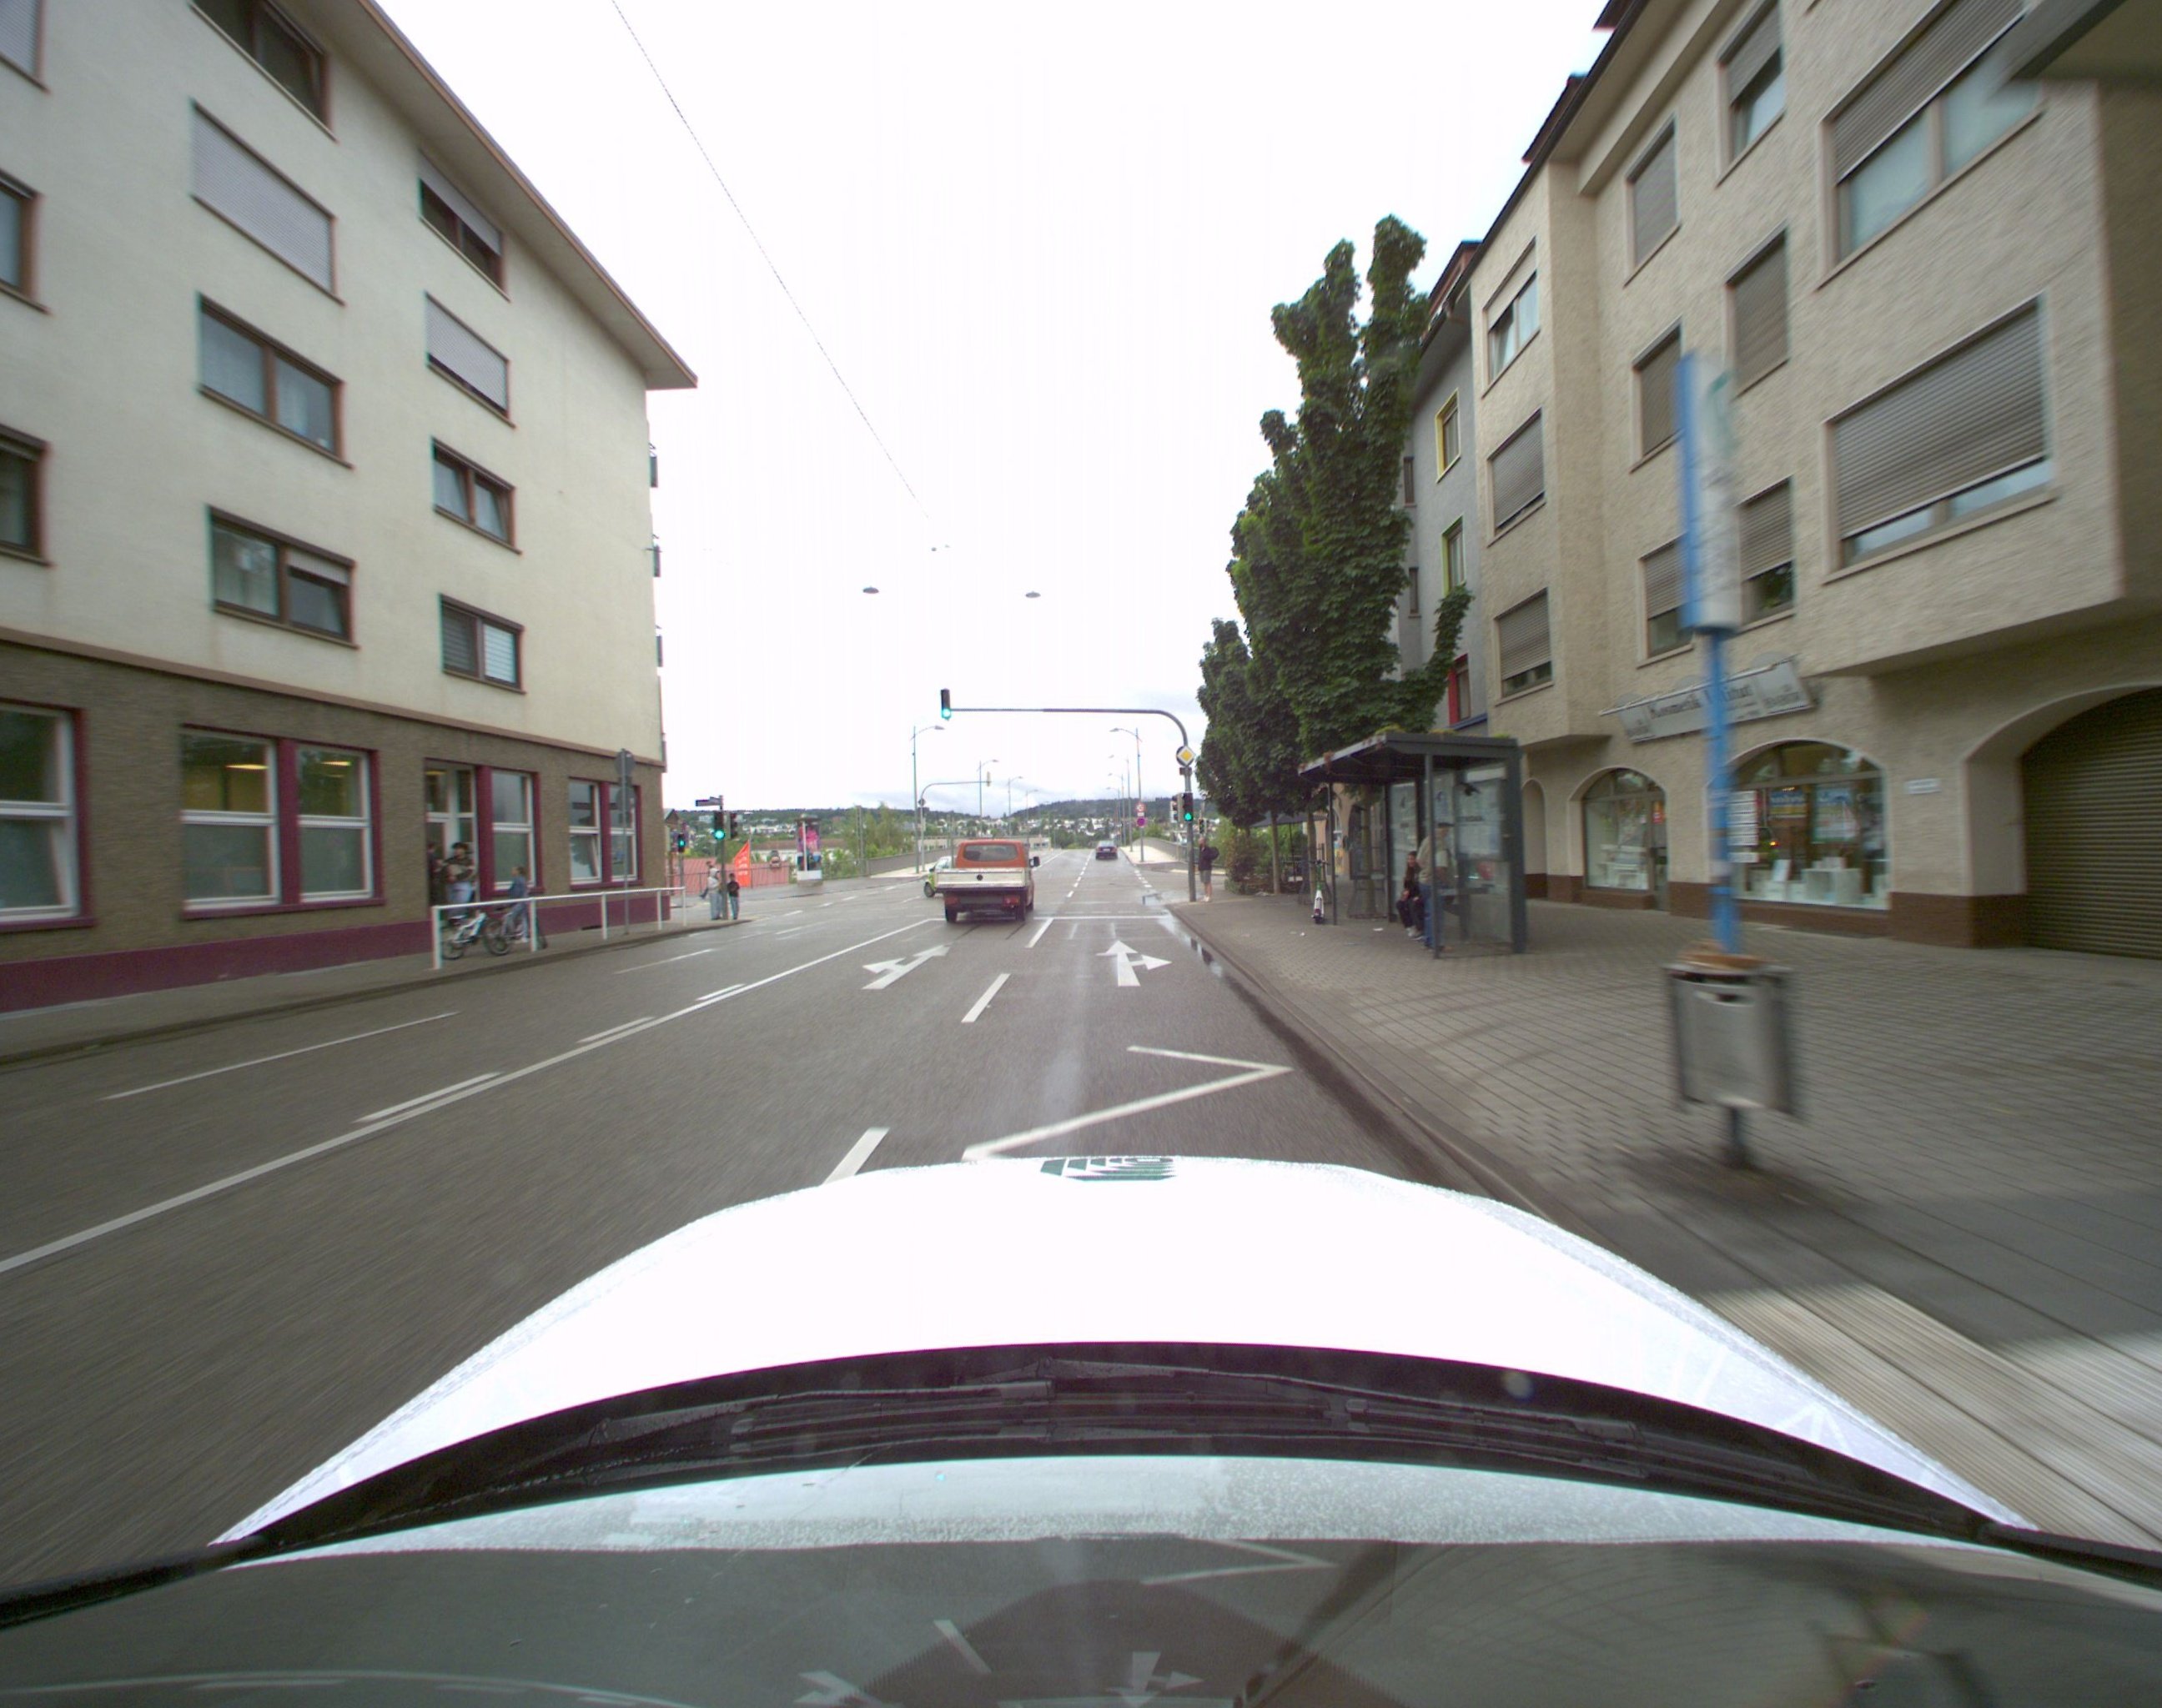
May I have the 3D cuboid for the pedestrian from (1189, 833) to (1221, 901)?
[{"bbox_3d":[3.480,0.358,22.919,0.730,1.841,0.631,-3,-1,0],"label":"pedestrian"}]

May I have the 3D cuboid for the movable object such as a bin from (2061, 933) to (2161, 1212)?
[{"bbox_3d":[4.023,0.763,2.725,0.598,0.926,0.705,-3,-1,1],"label":"movable object such as a bin"}]

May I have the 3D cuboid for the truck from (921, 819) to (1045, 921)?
[{"bbox_3d":[-2.260,0.357,20.518,2.392,2.129,5.313,-3,0,0],"label":"truck"}]

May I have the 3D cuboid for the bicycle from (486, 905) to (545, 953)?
[{"bbox_3d":[-10.531,1.382,15.187,0.263,0.783,1.111,-3,0,2],"label":"bicycle"}]

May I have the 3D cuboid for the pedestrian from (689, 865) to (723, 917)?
[{"bbox_3d":[-10.834,1.052,23.545,0.640,1.457,0.661,-3,-1,0],"label":"pedestrian"}]

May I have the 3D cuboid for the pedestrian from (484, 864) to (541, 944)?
[{"bbox_3d":[-11.561,0.994,16.578,0.573,1.553,0.739,-2,-1,-1],"label":"pedestrian"}]

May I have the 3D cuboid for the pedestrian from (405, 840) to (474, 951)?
[{"bbox_3d":[-12.537,0.790,15.932,0.710,2.099,0.730,-2,-1,-2],"label":"pedestrian"}]

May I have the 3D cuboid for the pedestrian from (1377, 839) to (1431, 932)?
[{"bbox_3d":[4.912,0.470,12.416,0.532,1.350,0.596,-3,-1,0],"label":"pedestrian"}]

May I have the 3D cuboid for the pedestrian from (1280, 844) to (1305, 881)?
[{"bbox_3d":[7.055,0.284,27.203,0.662,1.189,0.557,-3,-1,0],"label":"pedestrian"}]

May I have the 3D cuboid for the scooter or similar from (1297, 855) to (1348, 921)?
[{"bbox_3d":[4.566,0.618,15.464,0.509,1.172,1.550,-3,0,2],"label":"scooter or similar"}]

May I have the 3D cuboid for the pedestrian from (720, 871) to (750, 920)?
[{"bbox_3d":[-10.158,1.207,23.934,0.542,1.388,0.649,-3,-1,1],"label":"pedestrian"}]

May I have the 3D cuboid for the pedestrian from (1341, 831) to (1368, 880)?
[{"bbox_3d":[9.113,0.057,27.170,0.641,1.571,0.726,-3,-1,4],"label":"pedestrian"}]

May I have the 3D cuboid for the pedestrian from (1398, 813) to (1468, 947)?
[{"bbox_3d":[4.643,0.333,10.777,0.616,1.699,0.657,-3,-1,5],"label":"pedestrian"}]

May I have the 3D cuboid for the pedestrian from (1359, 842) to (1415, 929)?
[{"bbox_3d":[4.909,0.494,13.085,0.604,1.335,0.625,-3,-1,0],"label":"pedestrian"}]

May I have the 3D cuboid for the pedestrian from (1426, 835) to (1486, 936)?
[{"bbox_3d":[5.376,0.443,11.705,0.562,1.396,0.514,-2,-1,-2],"label":"pedestrian"}]

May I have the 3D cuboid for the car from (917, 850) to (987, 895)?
[{"bbox_3d":[-4.896,0.704,30.721,1.538,1.547,2.636,-2,-1,-37],"label":"car"}]

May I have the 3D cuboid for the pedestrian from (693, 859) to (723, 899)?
[{"bbox_3d":[-17.276,1.154,37.727,1.076,1.757,1.052,-2,-1,-33],"label":"pedestrian"}]

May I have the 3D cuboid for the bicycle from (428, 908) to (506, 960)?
[{"bbox_3d":[-10.928,1.407,14.540,0.263,0.783,1.422,-3,0,2],"label":"bicycle"}]

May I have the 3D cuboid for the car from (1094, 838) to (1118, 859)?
[{"bbox_3d":[1.945,-0.415,63.725,1.747,1.479,4.001,-3,0,2],"label":"car"}]

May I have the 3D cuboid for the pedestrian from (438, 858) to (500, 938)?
[{"bbox_3d":[-12.520,0.880,16.673,0.771,1.577,0.589,-3,-1,1],"label":"pedestrian"}]
